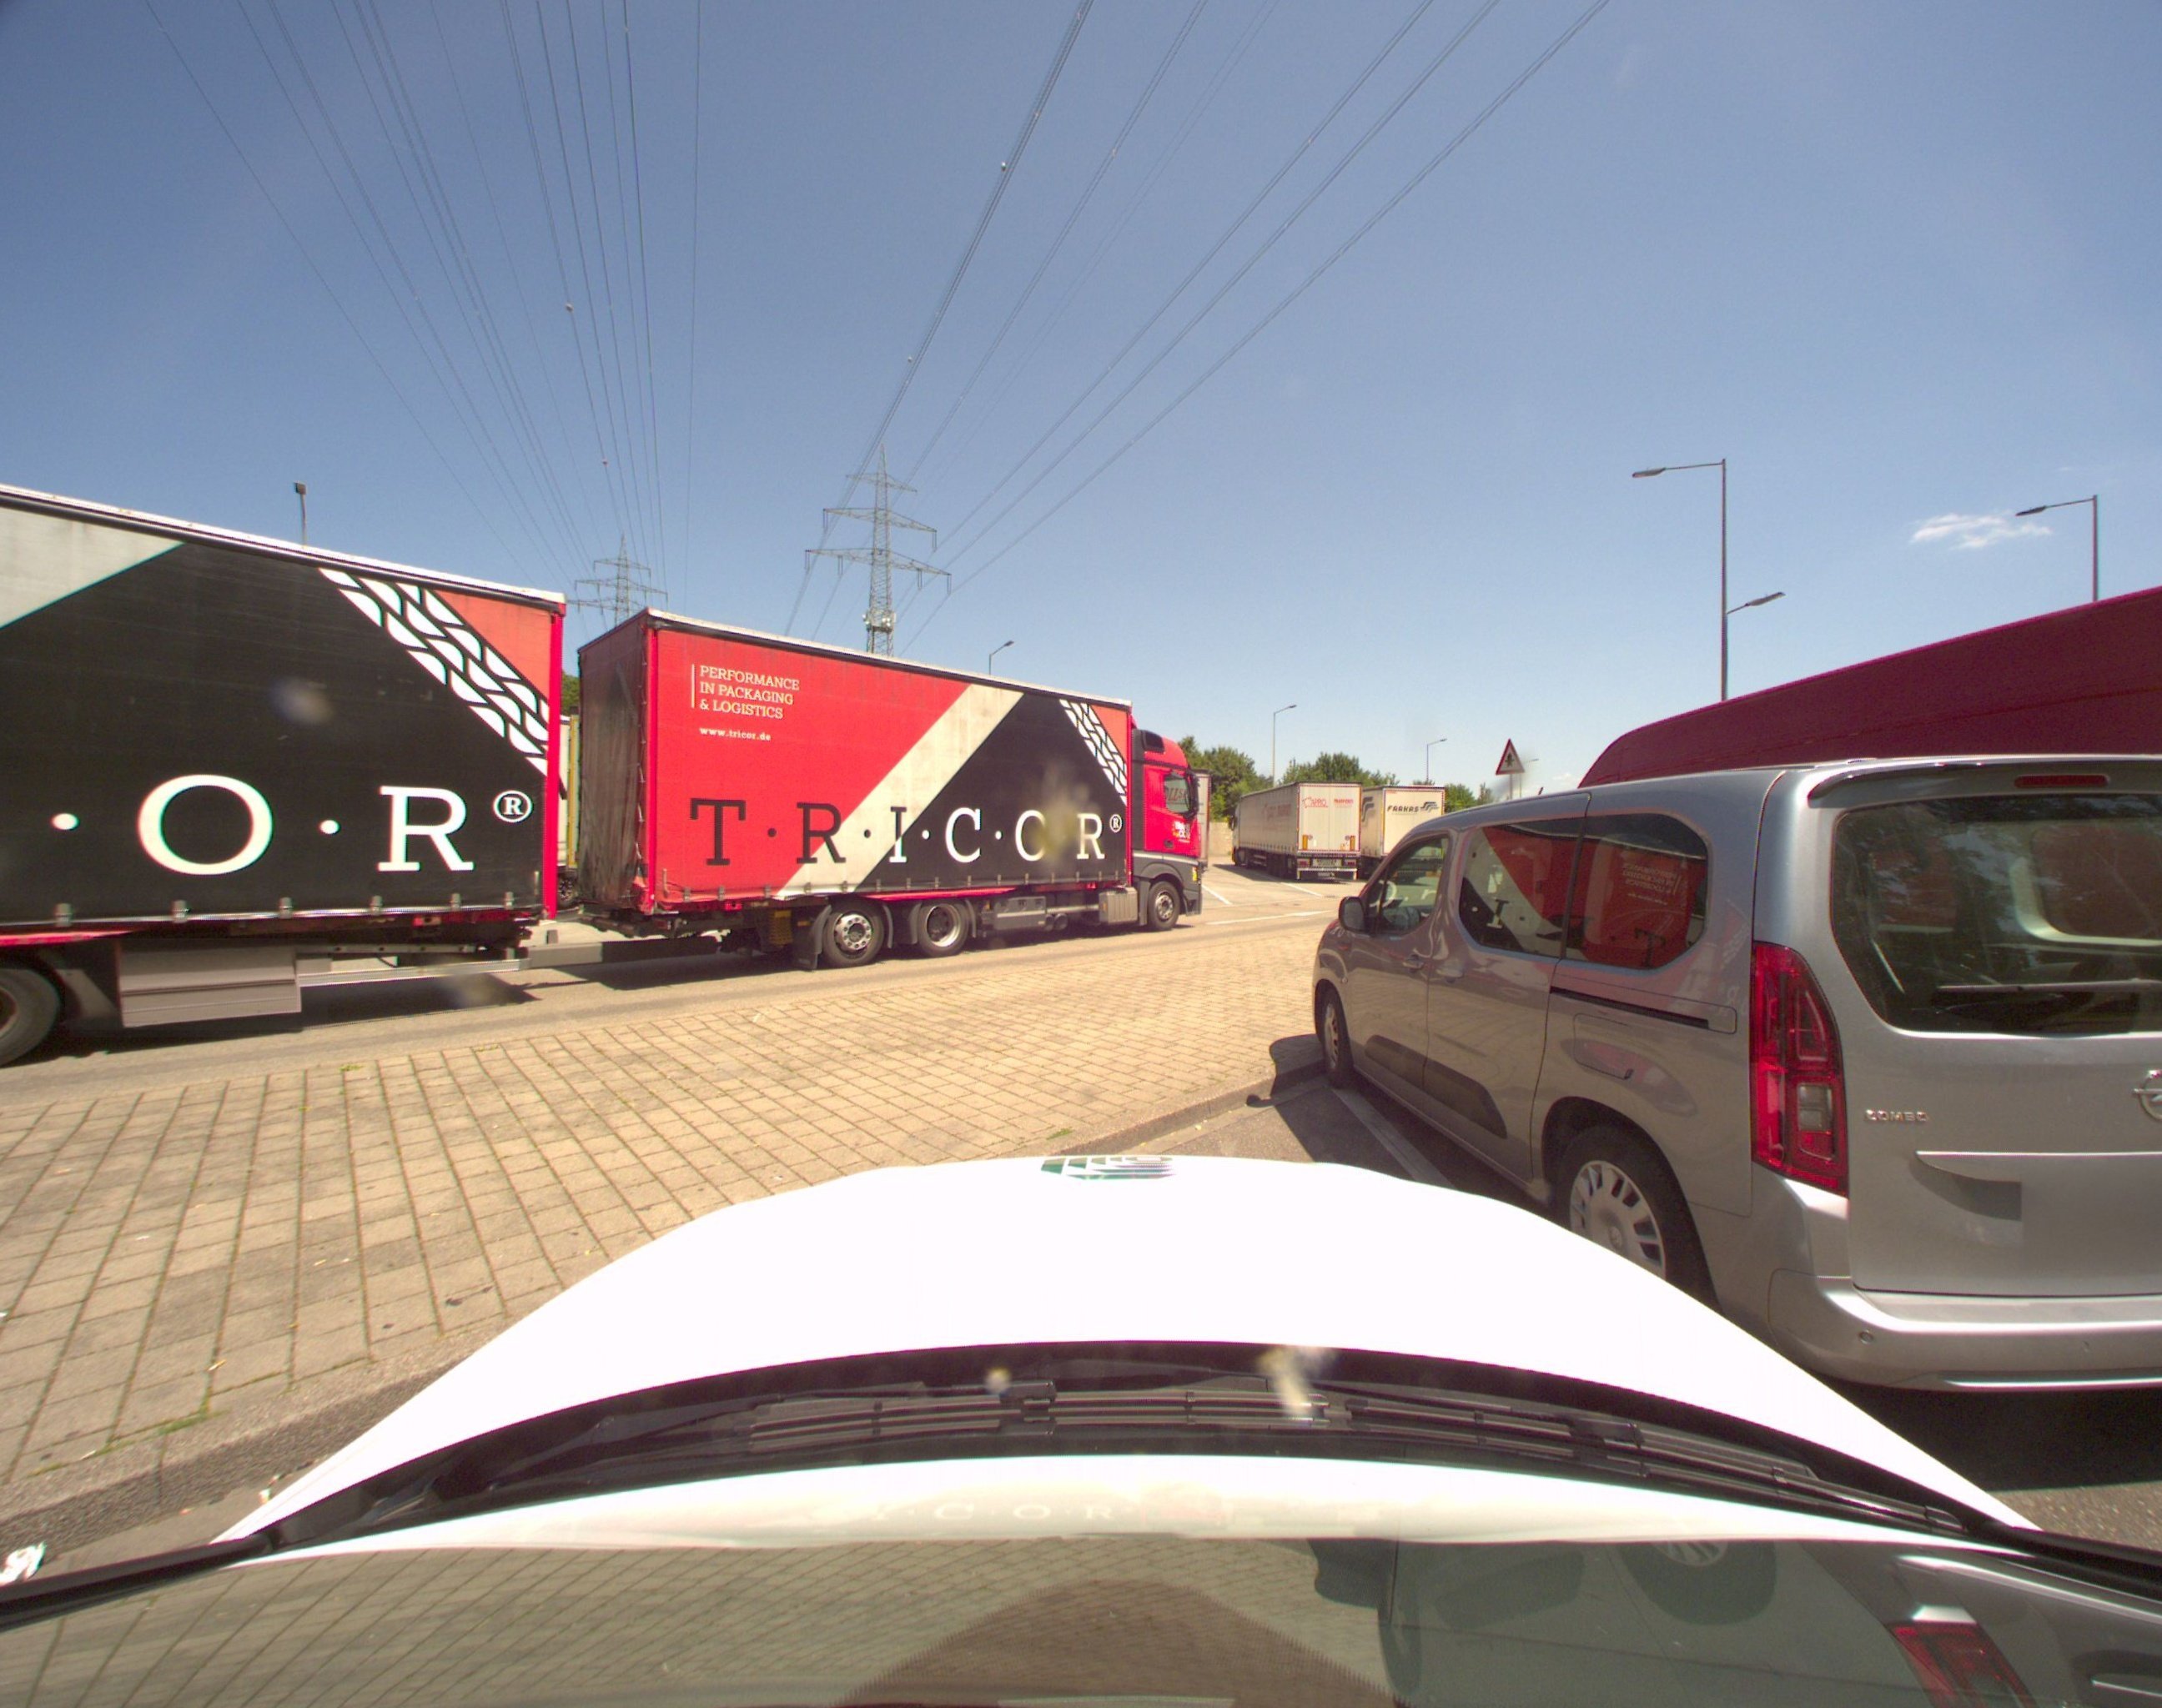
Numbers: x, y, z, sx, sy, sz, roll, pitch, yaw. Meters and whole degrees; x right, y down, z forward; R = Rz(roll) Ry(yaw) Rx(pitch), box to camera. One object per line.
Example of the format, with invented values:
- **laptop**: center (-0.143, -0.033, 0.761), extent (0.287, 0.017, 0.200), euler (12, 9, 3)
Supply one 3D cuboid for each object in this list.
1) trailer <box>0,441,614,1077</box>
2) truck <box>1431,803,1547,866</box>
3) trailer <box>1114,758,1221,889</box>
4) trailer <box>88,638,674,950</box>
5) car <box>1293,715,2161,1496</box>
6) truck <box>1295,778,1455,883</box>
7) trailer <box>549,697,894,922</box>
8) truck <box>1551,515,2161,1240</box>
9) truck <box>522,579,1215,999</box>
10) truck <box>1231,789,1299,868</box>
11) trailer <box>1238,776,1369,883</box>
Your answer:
- **trailer**: center (-8.709, -0.626, 5.933), extent (2.807, 4.257, 8.737), euler (0, 1, 44)
- **truck**: center (24.474, -1.134, 49.448), extent (3.013, 3.437, 8.534), euler (-1, 1, 2)
- **trailer**: center (3.057, -1.187, 32.751), extent (3.059, 4.227, 12.811), euler (1, 2, 1)
- **trailer**: center (-12.088, -0.892, 16.084), extent (2.734, 4.263, 9.740), euler (-1, 1, 3)
- **car**: center (2.482, 0.528, 3.863), extent (1.821, 1.753, 3.998), euler (-1, 1, -2)
- **truck**: center (13.587, -1.060, 39.666), extent (2.894, 4.124, 14.533), euler (2, 1, 2)
- **trailer**: center (-8.039, -0.913, 21.401), extent (2.739, 4.057, 13.292), euler (-1, 1, 2)
- **truck**: center (5.112, 0.048, 4.885), extent (1.983, 2.623, 5.312), euler (-1, 1, 6)
- **truck**: center (-2.083, -0.727, 12.773), extent (2.660, 4.127, 10.669), euler (0, 1, 44)
- **truck**: center (10.140, -1.395, 45.425), extent (2.747, 4.124, 5.286), euler (-1, 1, 2)
- **trailer**: center (9.952, -1.068, 38.422), extent (2.865, 4.124, 13.577), euler (0, 1, 2)
